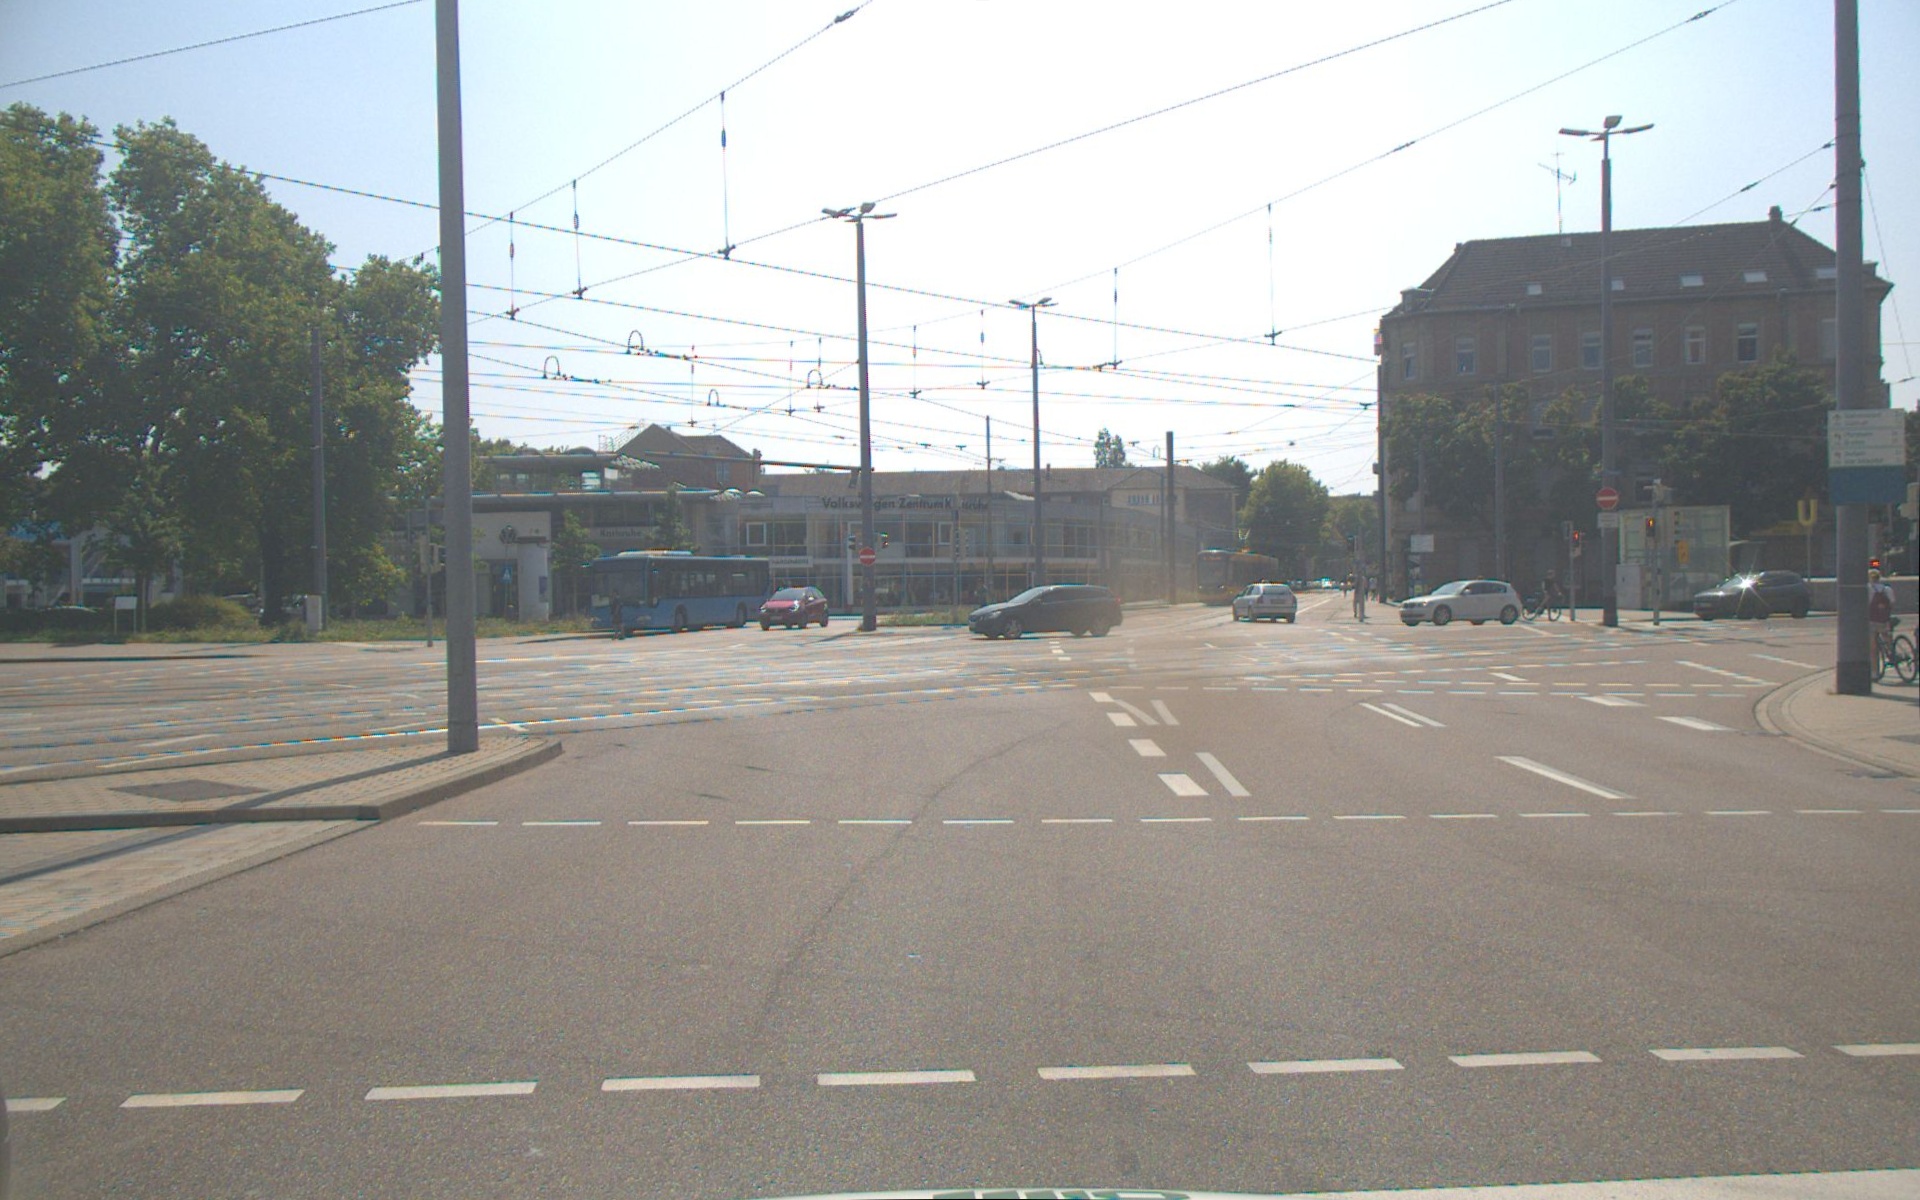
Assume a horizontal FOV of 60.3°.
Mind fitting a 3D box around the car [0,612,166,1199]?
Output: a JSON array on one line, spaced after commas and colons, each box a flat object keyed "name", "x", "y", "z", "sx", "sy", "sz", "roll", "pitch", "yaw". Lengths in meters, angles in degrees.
[{"name": "car", "x": -2.504, "y": 0.732, "z": 1.331, "sx": 1.728, "sy": 1.412, "sz": 3.783, "roll": 1, "pitch": 0, "yaw": 3}]

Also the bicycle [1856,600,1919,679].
[{"name": "bicycle", "x": 13.426, "y": 0.548, "z": 23.738, "sx": 0.525, "sy": 1.073, "sz": 1.655, "roll": -1, "pitch": 0, "yaw": 12}]

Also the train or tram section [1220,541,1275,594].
[{"name": "train or tram section", "x": 20.574, "y": -2.240, "z": 117.980, "sx": 2.534, "sy": 3.578, "sz": 9.664, "roll": -1, "pitch": 0, "yaw": 18}]

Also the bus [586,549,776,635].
[{"name": "bus", "x": -10.888, "y": -0.341, "z": 66.442, "sx": 2.508, "sy": 3.136, "sz": 12.031, "roll": -1, "pitch": 0, "yaw": 16}]

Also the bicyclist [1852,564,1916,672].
[{"name": "bicyclist", "x": 13.446, "y": 0.259, "z": 24.080, "sx": 0.614, "sy": 1.544, "sz": 0.712, "roll": -1, "pitch": 0, "yaw": 12}]

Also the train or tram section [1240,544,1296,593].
[{"name": "train or tram section", "x": 24.054, "y": -2.393, "z": 128.629, "sx": 2.534, "sy": 3.578, "sz": 12.979, "roll": -1, "pitch": 0, "yaw": 18}]

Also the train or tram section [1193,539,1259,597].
[{"name": "train or tram section", "x": 17.496, "y": -2.024, "z": 108.216, "sx": 2.534, "sy": 3.578, "sz": 10.904, "roll": -1, "pitch": 0, "yaw": 18}]

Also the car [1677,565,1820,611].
[{"name": "car", "x": 27.689, "y": -0.430, "z": 58.067, "sx": 4.545, "sy": 1.531, "sz": 1.987, "roll": -1, "pitch": 0, "yaw": -21}]

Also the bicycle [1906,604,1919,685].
[{"name": "bicycle", "x": 13.086, "y": 0.600, "z": 21.630, "sx": 0.481, "sy": 1.073, "sz": 1.824, "roll": -1, "pitch": 0, "yaw": 4}]

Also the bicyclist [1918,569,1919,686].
[{"name": "bicyclist", "x": 13.062, "y": 0.359, "z": 21.609, "sx": 0.718, "sy": 1.544, "sz": 0.664, "roll": -1, "pitch": 0, "yaw": 4}]

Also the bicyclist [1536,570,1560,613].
[{"name": "bicyclist", "x": 21.465, "y": -0.297, "z": 60.395, "sx": 0.603, "sy": 1.555, "sz": 0.517, "roll": -1, "pitch": 0, "yaw": -25}]

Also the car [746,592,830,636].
[{"name": "car", "x": -6.538, "y": 0.528, "z": 63.232, "sx": 1.713, "sy": 1.579, "sz": 4.002, "roll": -1, "pitch": 0, "yaw": 17}]

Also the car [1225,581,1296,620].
[{"name": "car", "x": 11.557, "y": -0.004, "z": 63.757, "sx": 1.735, "sy": 1.440, "sz": 4.186, "roll": -1, "pitch": 0, "yaw": -3}]

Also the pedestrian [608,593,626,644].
[{"name": "pedestrian", "x": -11.659, "y": 0.623, "z": 56.198, "sx": 0.544, "sy": 1.713, "sz": 0.452, "roll": -1, "pitch": 0, "yaw": -19}]

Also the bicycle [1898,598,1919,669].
[{"name": "bicycle", "x": 15.095, "y": 0.520, "z": 25.591, "sx": 0.525, "sy": 1.073, "sz": 1.655, "roll": -1, "pitch": 0, "yaw": 12}]

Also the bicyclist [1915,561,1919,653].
[{"name": "bicyclist", "x": 15.001, "y": 0.108, "z": 25.174, "sx": 0.519, "sy": 1.417, "sz": 0.894, "roll": -1, "pitch": 0, "yaw": 12}]

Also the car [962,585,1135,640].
[{"name": "car", "x": 2.563, "y": 0.338, "z": 47.844, "sx": 4.684, "sy": 1.440, "sz": 1.765, "roll": -1, "pitch": 0, "yaw": -20}]

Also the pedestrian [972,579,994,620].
[{"name": "pedestrian", "x": 0.821, "y": -0.019, "z": 59.332, "sx": 0.666, "sy": 1.468, "sz": 0.364, "roll": -1, "pitch": 0, "yaw": -18}]

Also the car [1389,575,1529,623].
[{"name": "car", "x": 16.008, "y": -0.054, "z": 53.111, "sx": 4.130, "sy": 1.440, "sz": 1.764, "roll": -1, "pitch": 0, "yaw": -22}]

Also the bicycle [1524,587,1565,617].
[{"name": "bicycle", "x": 21.391, "y": 0.068, "z": 60.569, "sx": 0.462, "sy": 1.073, "sz": 1.643, "roll": -1, "pitch": 0, "yaw": -21}]

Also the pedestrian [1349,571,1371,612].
[{"name": "pedestrian", "x": 16.228, "y": -0.346, "z": 67.031, "sx": 0.686, "sy": 1.631, "sz": 0.572, "roll": -1, "pitch": 0, "yaw": -8}]
